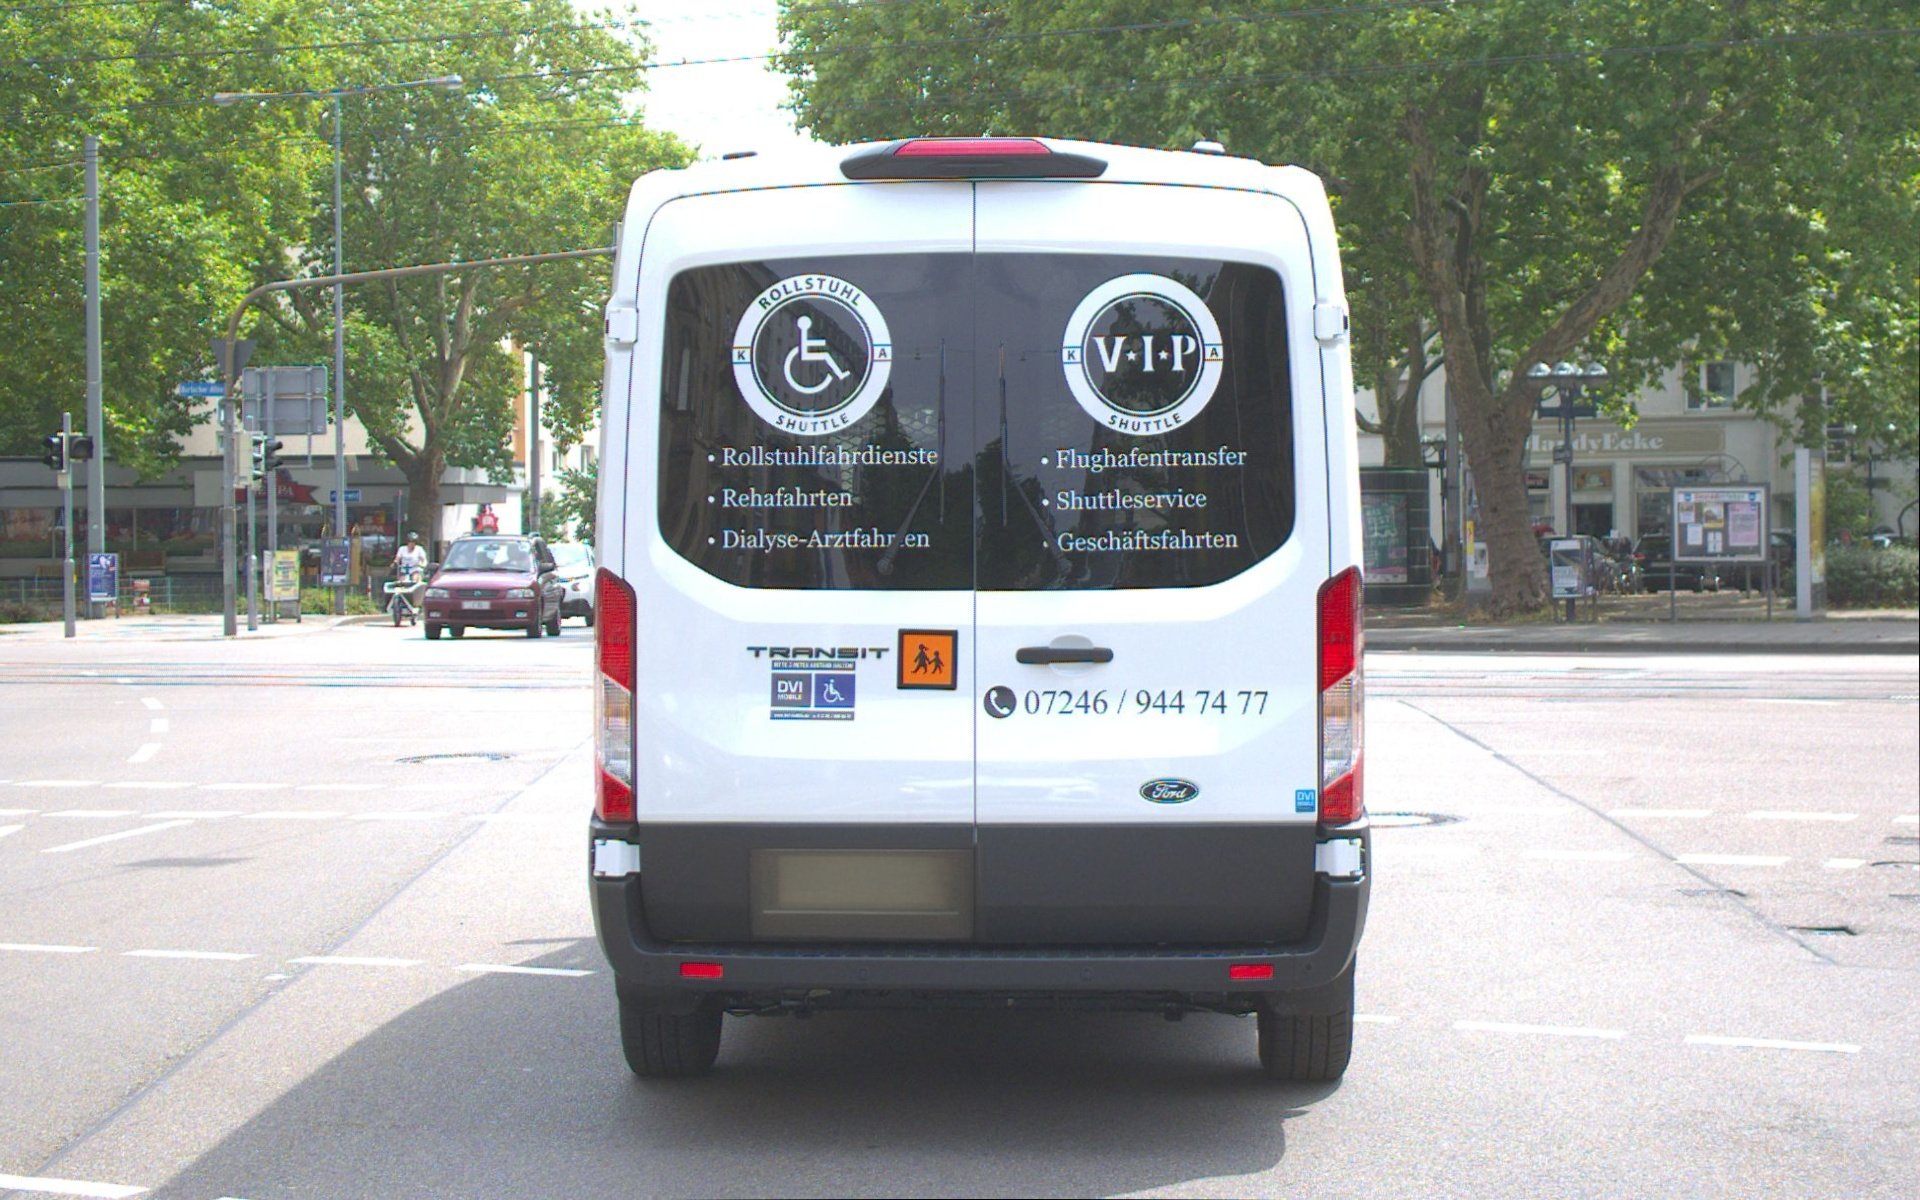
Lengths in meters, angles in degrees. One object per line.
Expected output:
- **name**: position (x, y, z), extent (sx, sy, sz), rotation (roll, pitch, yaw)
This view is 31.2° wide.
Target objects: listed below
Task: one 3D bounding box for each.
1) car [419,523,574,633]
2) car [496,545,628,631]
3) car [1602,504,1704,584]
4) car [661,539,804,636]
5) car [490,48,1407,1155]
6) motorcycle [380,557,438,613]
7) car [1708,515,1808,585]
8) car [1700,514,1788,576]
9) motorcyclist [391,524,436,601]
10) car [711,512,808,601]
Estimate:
- **car**: position (-6.591, -0.340, 49.217), extent (1.592, 1.502, 3.807), rotation (-1, 1, 1)
- **car**: position (-6.978, -0.240, 60.659), extent (1.743, 1.422, 4.032), rotation (-1, 1, 2)
- **car**: position (17.256, -1.405, 85.763), extent (1.994, 1.924, 4.000), rotation (-1, 1, 4)
- **car**: position (-3.487, -0.225, 53.340), extent (1.832, 1.422, 4.121), rotation (-1, 1, 2)
- **car**: position (-0.098, -0.073, 10.550), extent (2.181, 2.638, 4.629), rotation (0, 2, -2)
- **motorcycle**: position (-9.955, -0.286, 62.147), extent (0.683, 0.968, 2.324), rotation (-1, 1, 0)
- **car**: position (19.758, -1.253, 85.281), extent (1.805, 1.678, 4.000), rotation (-1, 1, 4)
- **car**: position (21.807, -1.537, 95.530), extent (1.806, 1.678, 3.996), rotation (0, 1, 21)
- **motorcyclist**: position (-9.967, -0.689, 62.706), extent (0.683, 1.390, 0.682), rotation (-1, 1, 0)
- **car**: position (-4.491, -0.990, 77.561), extent (1.743, 1.924, 4.854), rotation (-1, 1, 2)
